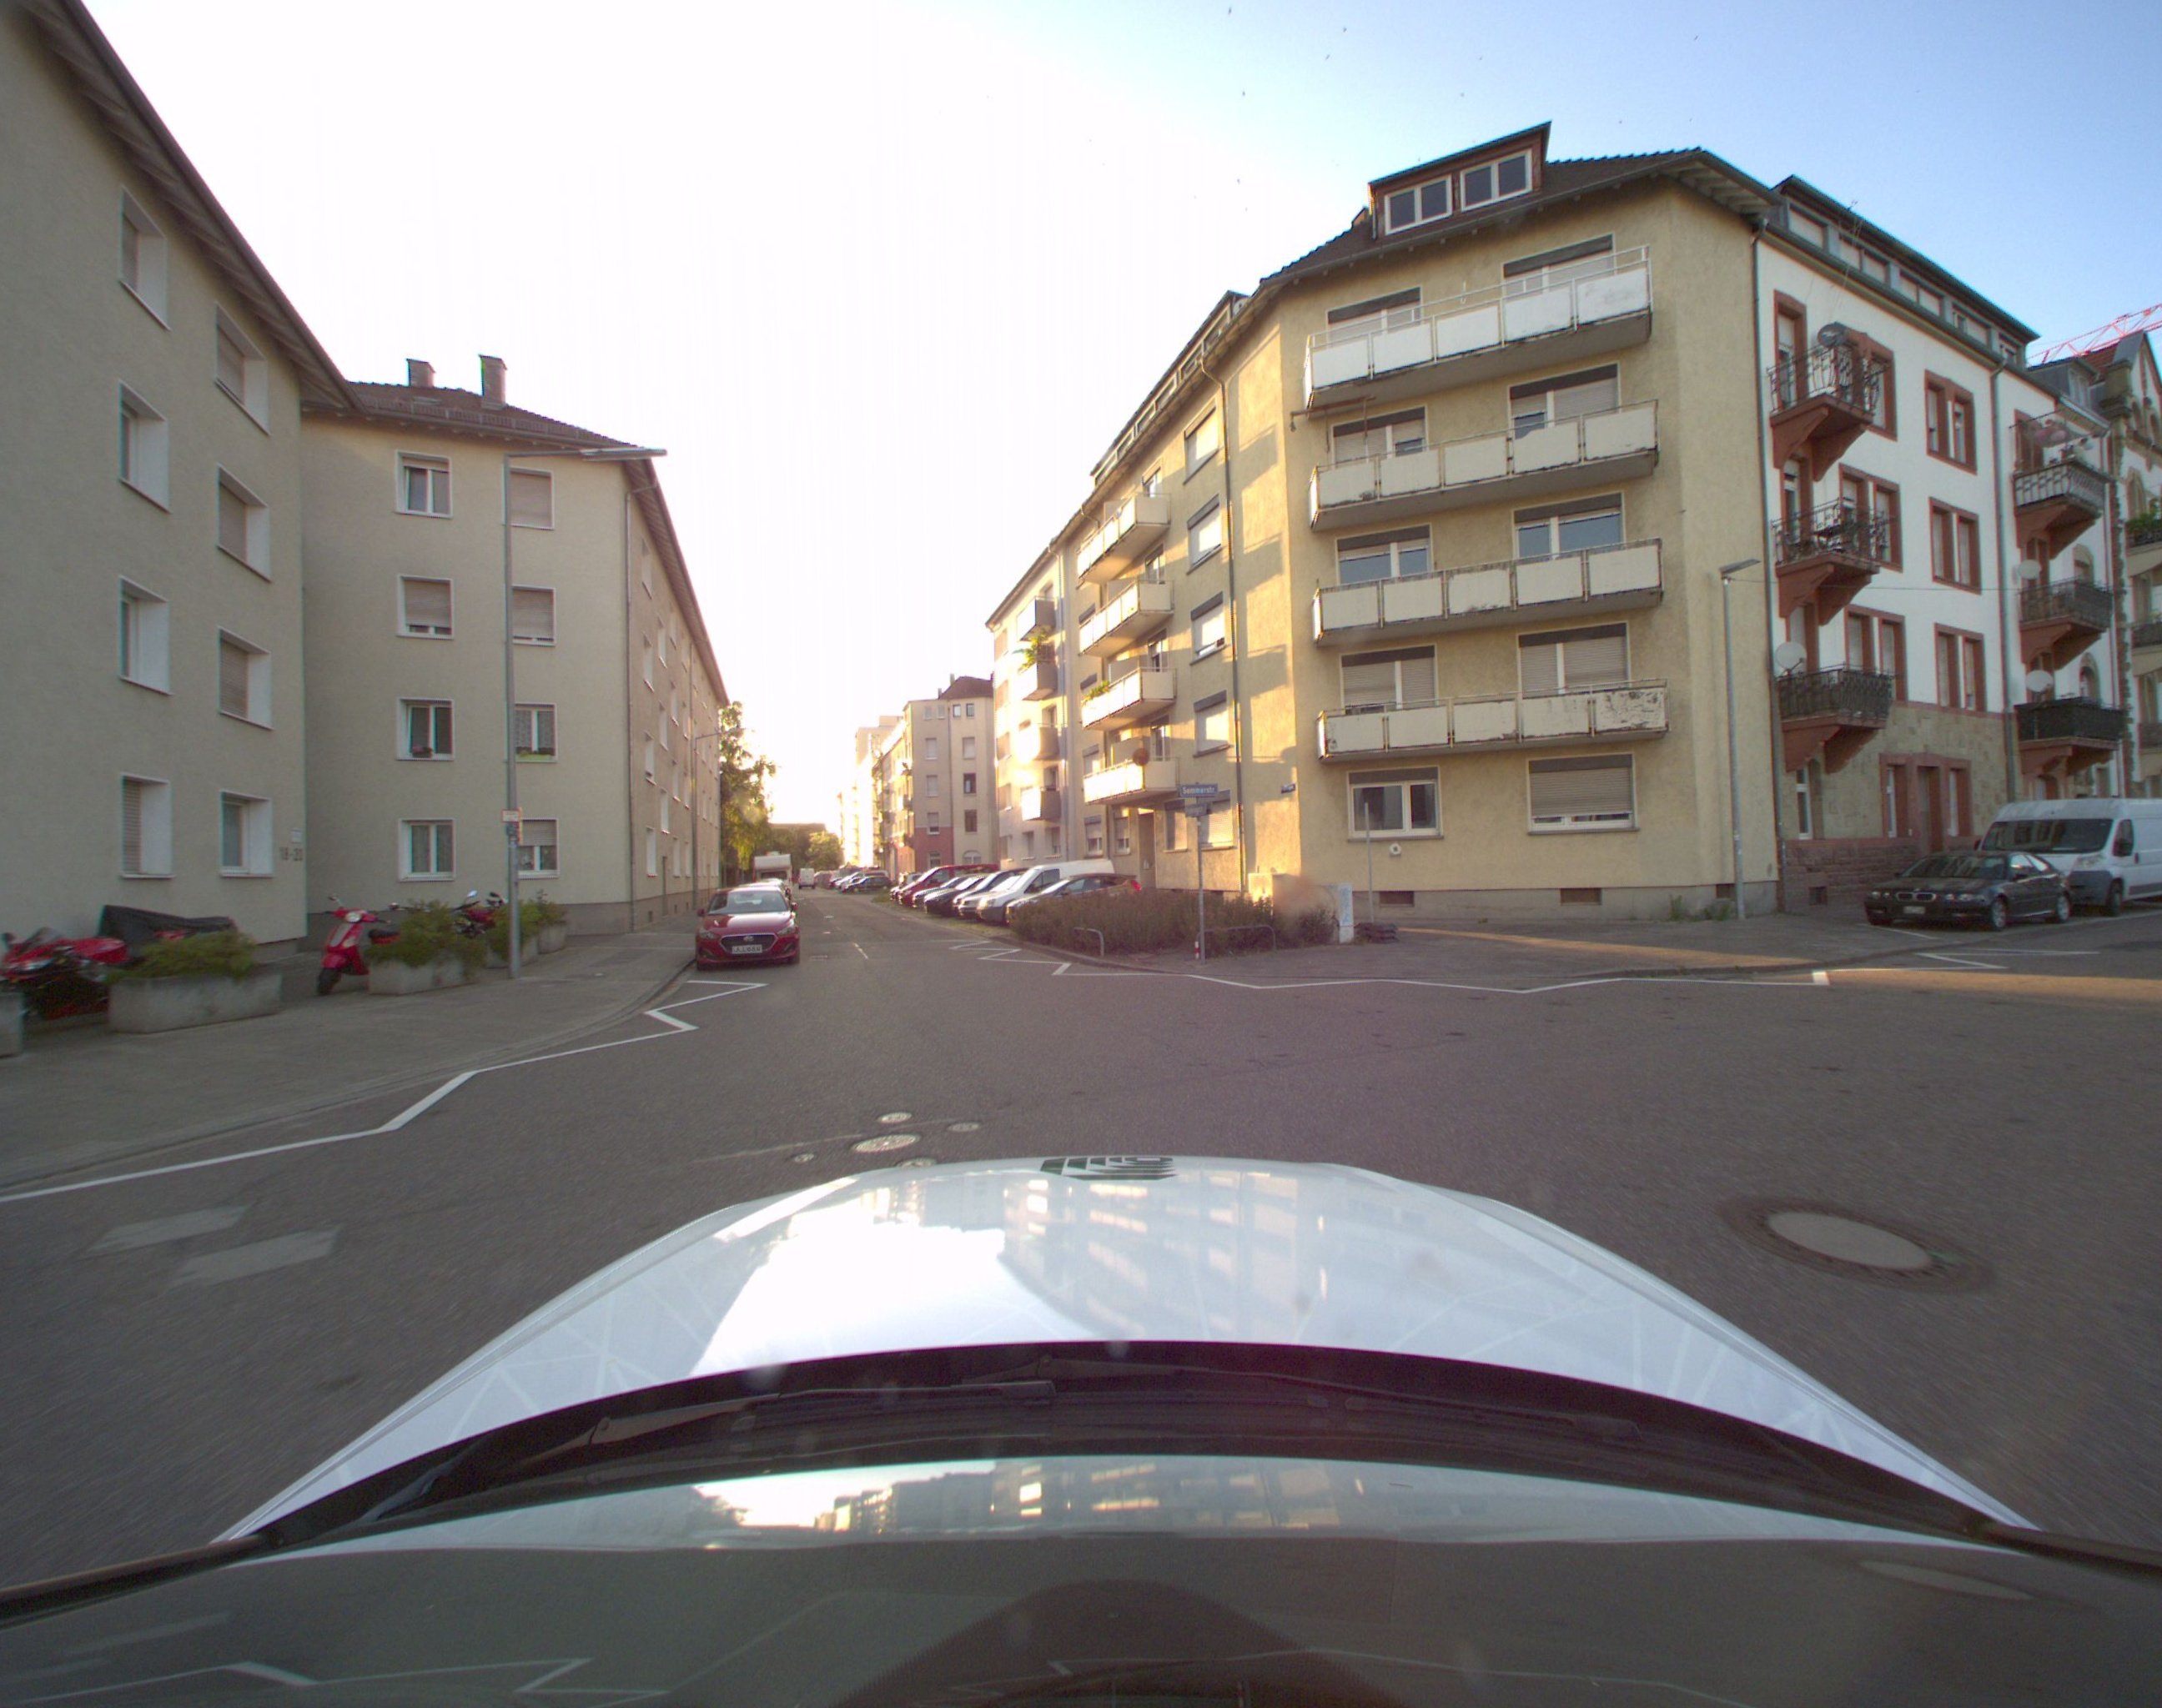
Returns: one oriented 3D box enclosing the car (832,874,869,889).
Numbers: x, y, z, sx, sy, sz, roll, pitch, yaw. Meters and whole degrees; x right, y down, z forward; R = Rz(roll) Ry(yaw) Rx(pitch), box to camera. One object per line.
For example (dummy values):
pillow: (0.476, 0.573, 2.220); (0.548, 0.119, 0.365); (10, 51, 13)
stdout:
car: (-26.799, 3.221, 94.643); (4.002, 1.530, 1.647); (-3, -1, -21)

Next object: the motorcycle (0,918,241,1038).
motorcycle: (-10.990, 1.341, 9.248); (0.721, 1.079, 2.081); (-2, -1, 1)

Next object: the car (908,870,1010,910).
car: (-5.433, 1.591, 36.223); (4.161, 1.471, 1.624); (-3, -1, -22)

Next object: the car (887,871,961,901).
car: (-8.864, 1.812, 46.063); (3.826, 1.428, 1.623); (-3, -1, -22)

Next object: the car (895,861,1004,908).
car: (-6.237, 1.421, 38.645); (4.741, 1.909, 2.044); (-3, -1, -22)

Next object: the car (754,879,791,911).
car: (-15.956, 2.085, 42.049); (1.659, 1.435, 3.847); (-3, -1, -22)

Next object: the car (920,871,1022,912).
car: (-4.575, 1.529, 33.840); (3.891, 1.416, 1.624); (-3, -1, -23)

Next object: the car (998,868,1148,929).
car: (-0.237, 1.218, 23.181); (3.886, 1.492, 1.729); (-1, -1, -21)

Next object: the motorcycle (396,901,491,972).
motorcycle: (-11.088, 1.398, 14.242); (0.684, 1.079, 2.021); (-1, -1, -19)

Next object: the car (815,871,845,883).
car: (-36.345, 3.270, 117.781); (4.002, 1.530, 1.647); (-3, -1, -21)

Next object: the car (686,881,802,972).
car: (-6.620, 1.309, 16.144); (1.852, 1.473, 4.048); (-1, -1, -22)

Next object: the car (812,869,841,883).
car: (-46.822, 4.053, 149.750); (4.832, 2.408, 1.726); (-3, -1, -21)

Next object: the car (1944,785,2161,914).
car: (22.229, -0.156, 18.218); (6.045, 2.530, 2.214); (-1, 1, -25)

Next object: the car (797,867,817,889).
car: (-35.448, 3.091, 105.287); (2.137, 2.717, 4.797); (-3, -1, -22)

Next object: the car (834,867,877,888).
car: (-23.457, 2.423, 84.554); (4.006, 2.014, 1.984); (-1, -1, -25)

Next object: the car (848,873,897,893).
car: (-18.516, 2.561, 72.455); (4.002, 1.530, 1.647); (-3, -1, -21)

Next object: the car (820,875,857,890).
car: (-28.748, 3.334, 96.571); (4.002, 1.530, 1.647); (-3, -1, -21)

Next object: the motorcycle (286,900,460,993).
motorcycle: (-10.368, 1.314, 12.045); (0.685, 1.160, 2.036); (-2, -1, 4)

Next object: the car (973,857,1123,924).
car: (-1.037, 1.096, 25.213); (4.295, 1.860, 1.729); (-1, -2, -21)

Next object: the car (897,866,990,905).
car: (-6.985, 1.594, 41.407); (4.341, 1.637, 1.805); (-3, -1, -22)

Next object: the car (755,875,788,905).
car: (-17.924, 2.085, 47.133); (1.659, 1.564, 3.847); (-3, -1, -22)

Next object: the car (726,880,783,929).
car: (-11.058, 1.659, 27.610); (1.622, 1.473, 3.478); (-3, -1, -22)

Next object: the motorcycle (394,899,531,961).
motorcycle: (-12.246, 1.494, 16.175); (2.123, 1.105, 0.558); (-1, -1, -10)

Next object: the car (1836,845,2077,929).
car: (16.662, 0.542, 15.514); (4.006, 1.371, 1.984); (-1, 1, -25)

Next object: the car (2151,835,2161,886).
car: (33.220, 0.155, 23.315); (4.615, 1.444, 2.186); (-1, 1, -25)

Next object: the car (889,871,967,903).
car: (-8.195, 1.755, 43.642); (3.826, 1.428, 1.623); (-3, -1, -22)

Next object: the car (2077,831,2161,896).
car: (28.163, 0.188, 20.905); (4.615, 1.567, 2.214); (-1, 1, -25)

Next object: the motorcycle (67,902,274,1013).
motorcycle: (-12.219, 1.333, 11.055); (0.723, 1.265, 2.073); (-1, -1, -10)

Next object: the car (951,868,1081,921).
car: (-2.157, 1.303, 26.975); (3.969, 1.522, 1.694); (-2, -1, -21)

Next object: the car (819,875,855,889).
car: (-29.457, 3.390, 98.368); (4.002, 1.530, 1.647); (-3, -1, -21)

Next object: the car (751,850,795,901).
car: (-21.874, 1.515, 58.075); (2.629, 3.269, 7.644); (-3, -1, -20)

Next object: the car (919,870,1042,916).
car: (-3.846, 1.461, 31.154); (4.324, 1.449, 1.643); (-3, -1, -21)

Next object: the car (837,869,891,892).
car: (-21.043, 2.562, 79.102); (4.832, 1.968, 1.726); (-3, -1, -21)

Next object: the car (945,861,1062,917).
car: (-2.795, 1.236, 29.313); (3.804, 1.695, 1.643); (-3, -1, -21)
